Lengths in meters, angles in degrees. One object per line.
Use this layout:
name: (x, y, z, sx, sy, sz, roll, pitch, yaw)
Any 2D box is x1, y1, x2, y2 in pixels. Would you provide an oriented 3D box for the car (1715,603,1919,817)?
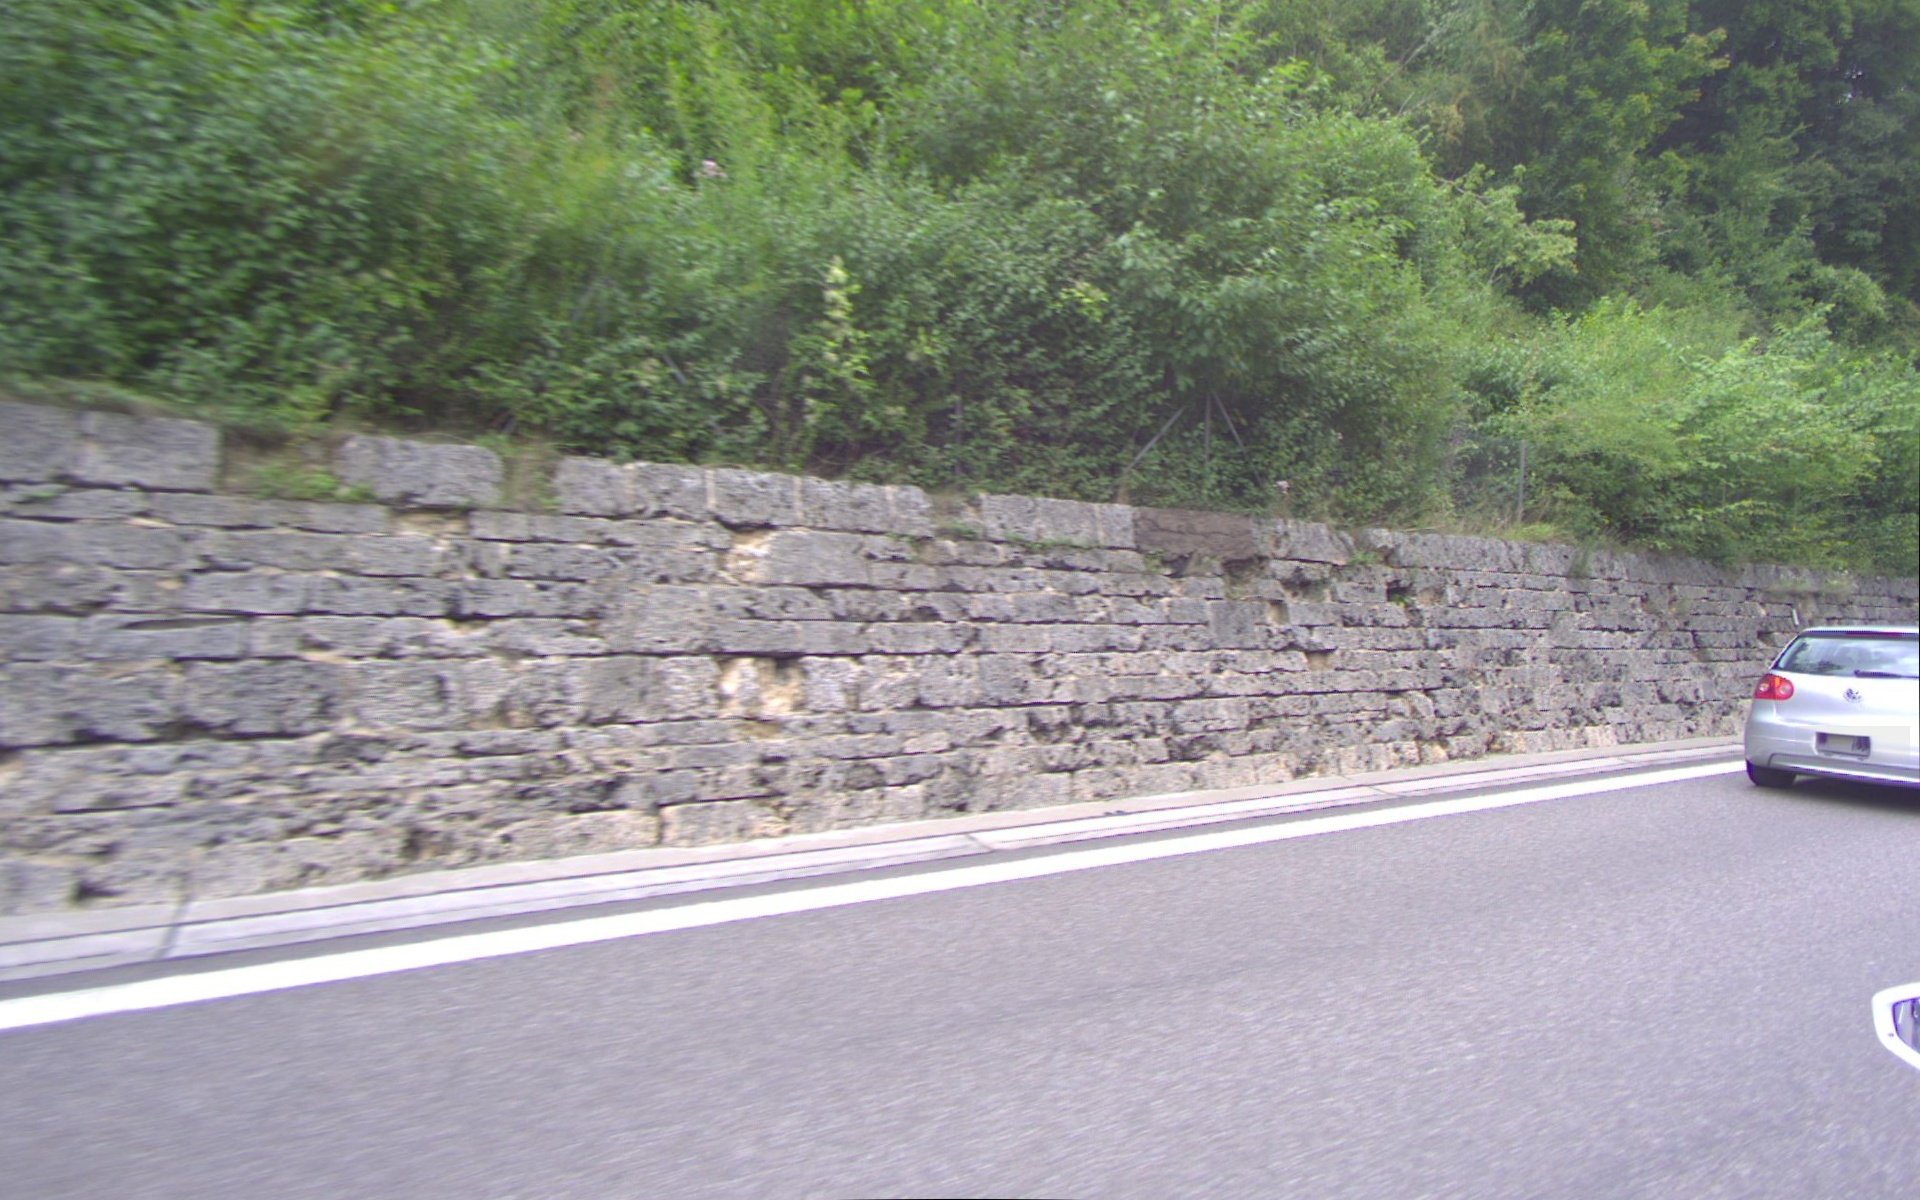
car: (8.866, 0.935, 9.053, 4.532, 1.535, 1.672, 3, 1, -31)
